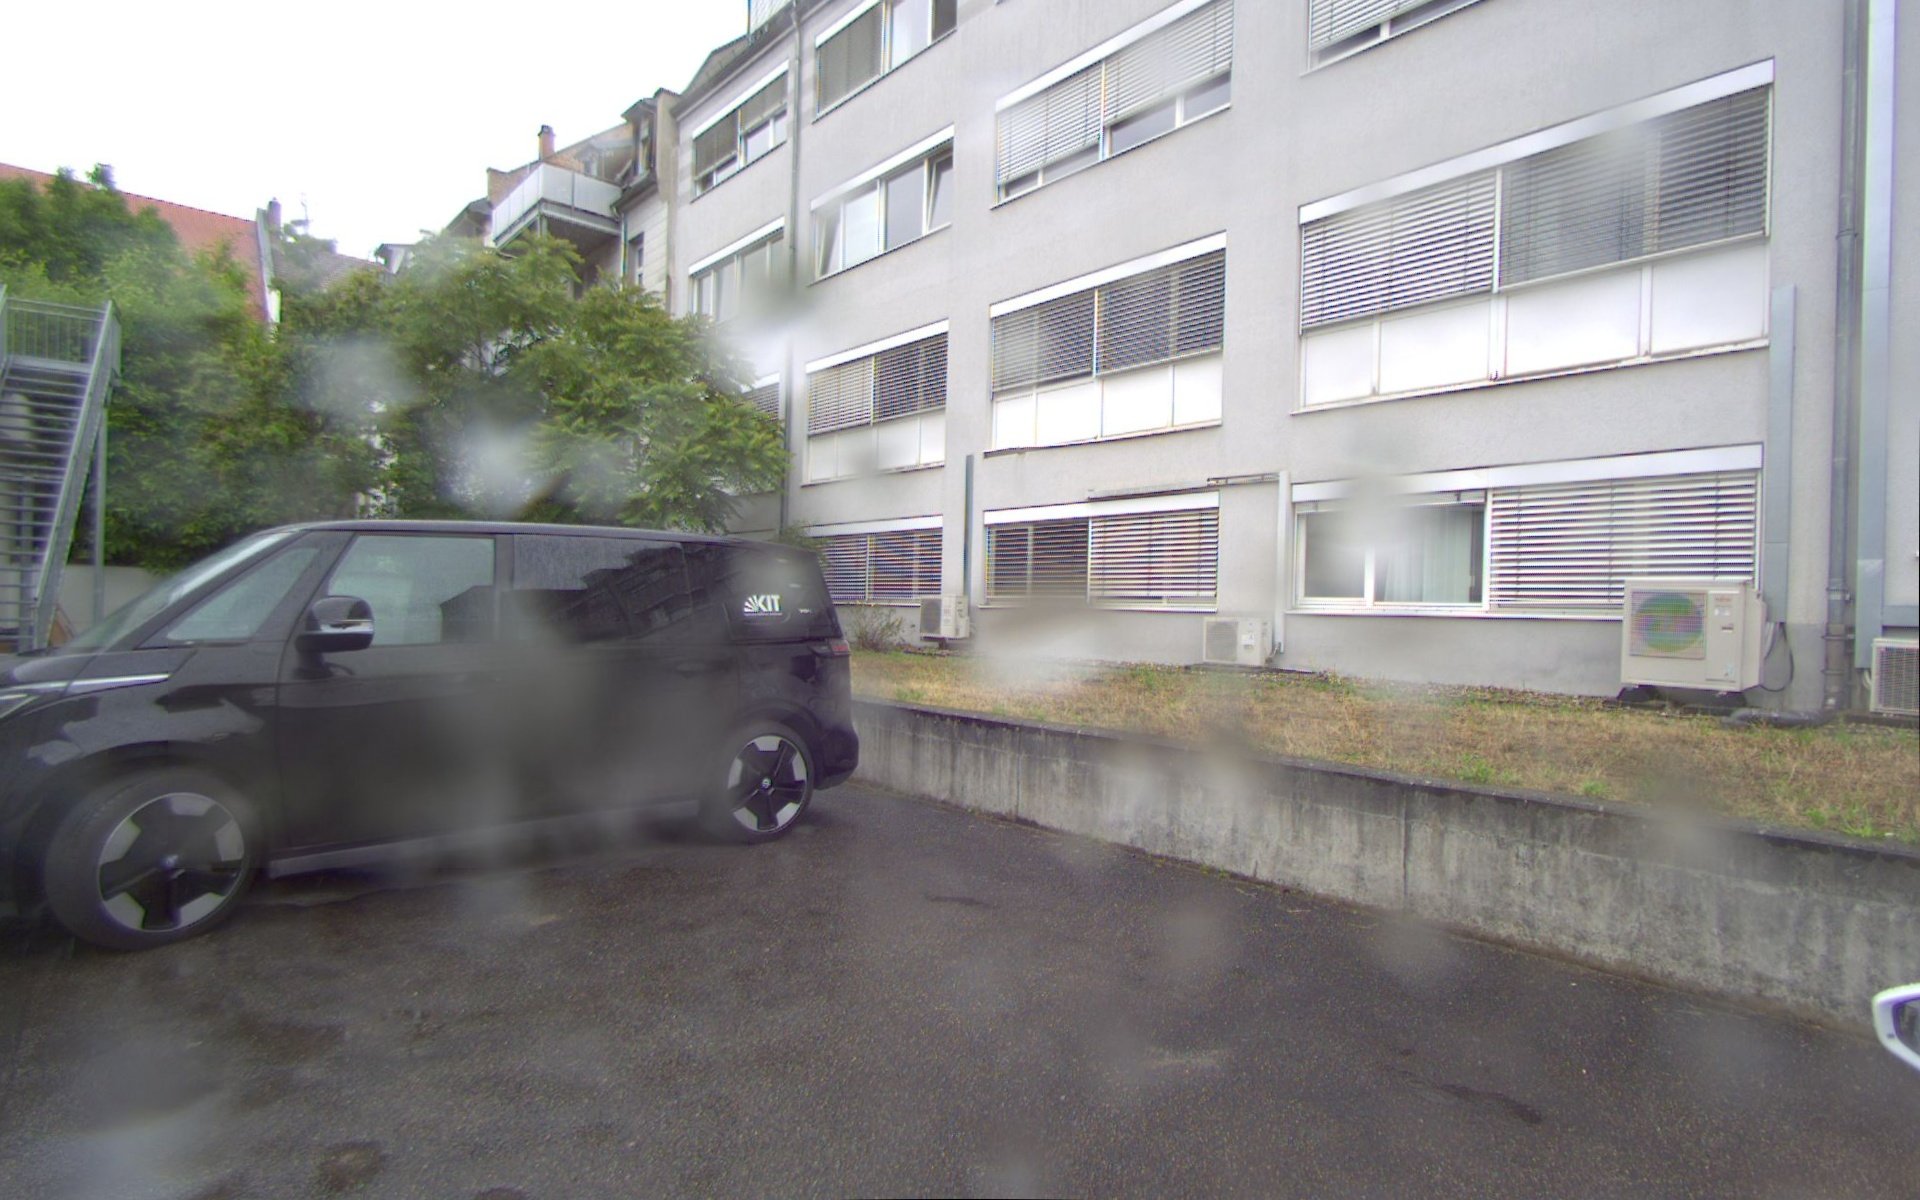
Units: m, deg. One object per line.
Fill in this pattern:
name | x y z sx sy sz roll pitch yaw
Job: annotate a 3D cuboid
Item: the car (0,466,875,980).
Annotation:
car | -2.880 0.510 5.832 4.491 1.922 2.020 2 -1 -43
